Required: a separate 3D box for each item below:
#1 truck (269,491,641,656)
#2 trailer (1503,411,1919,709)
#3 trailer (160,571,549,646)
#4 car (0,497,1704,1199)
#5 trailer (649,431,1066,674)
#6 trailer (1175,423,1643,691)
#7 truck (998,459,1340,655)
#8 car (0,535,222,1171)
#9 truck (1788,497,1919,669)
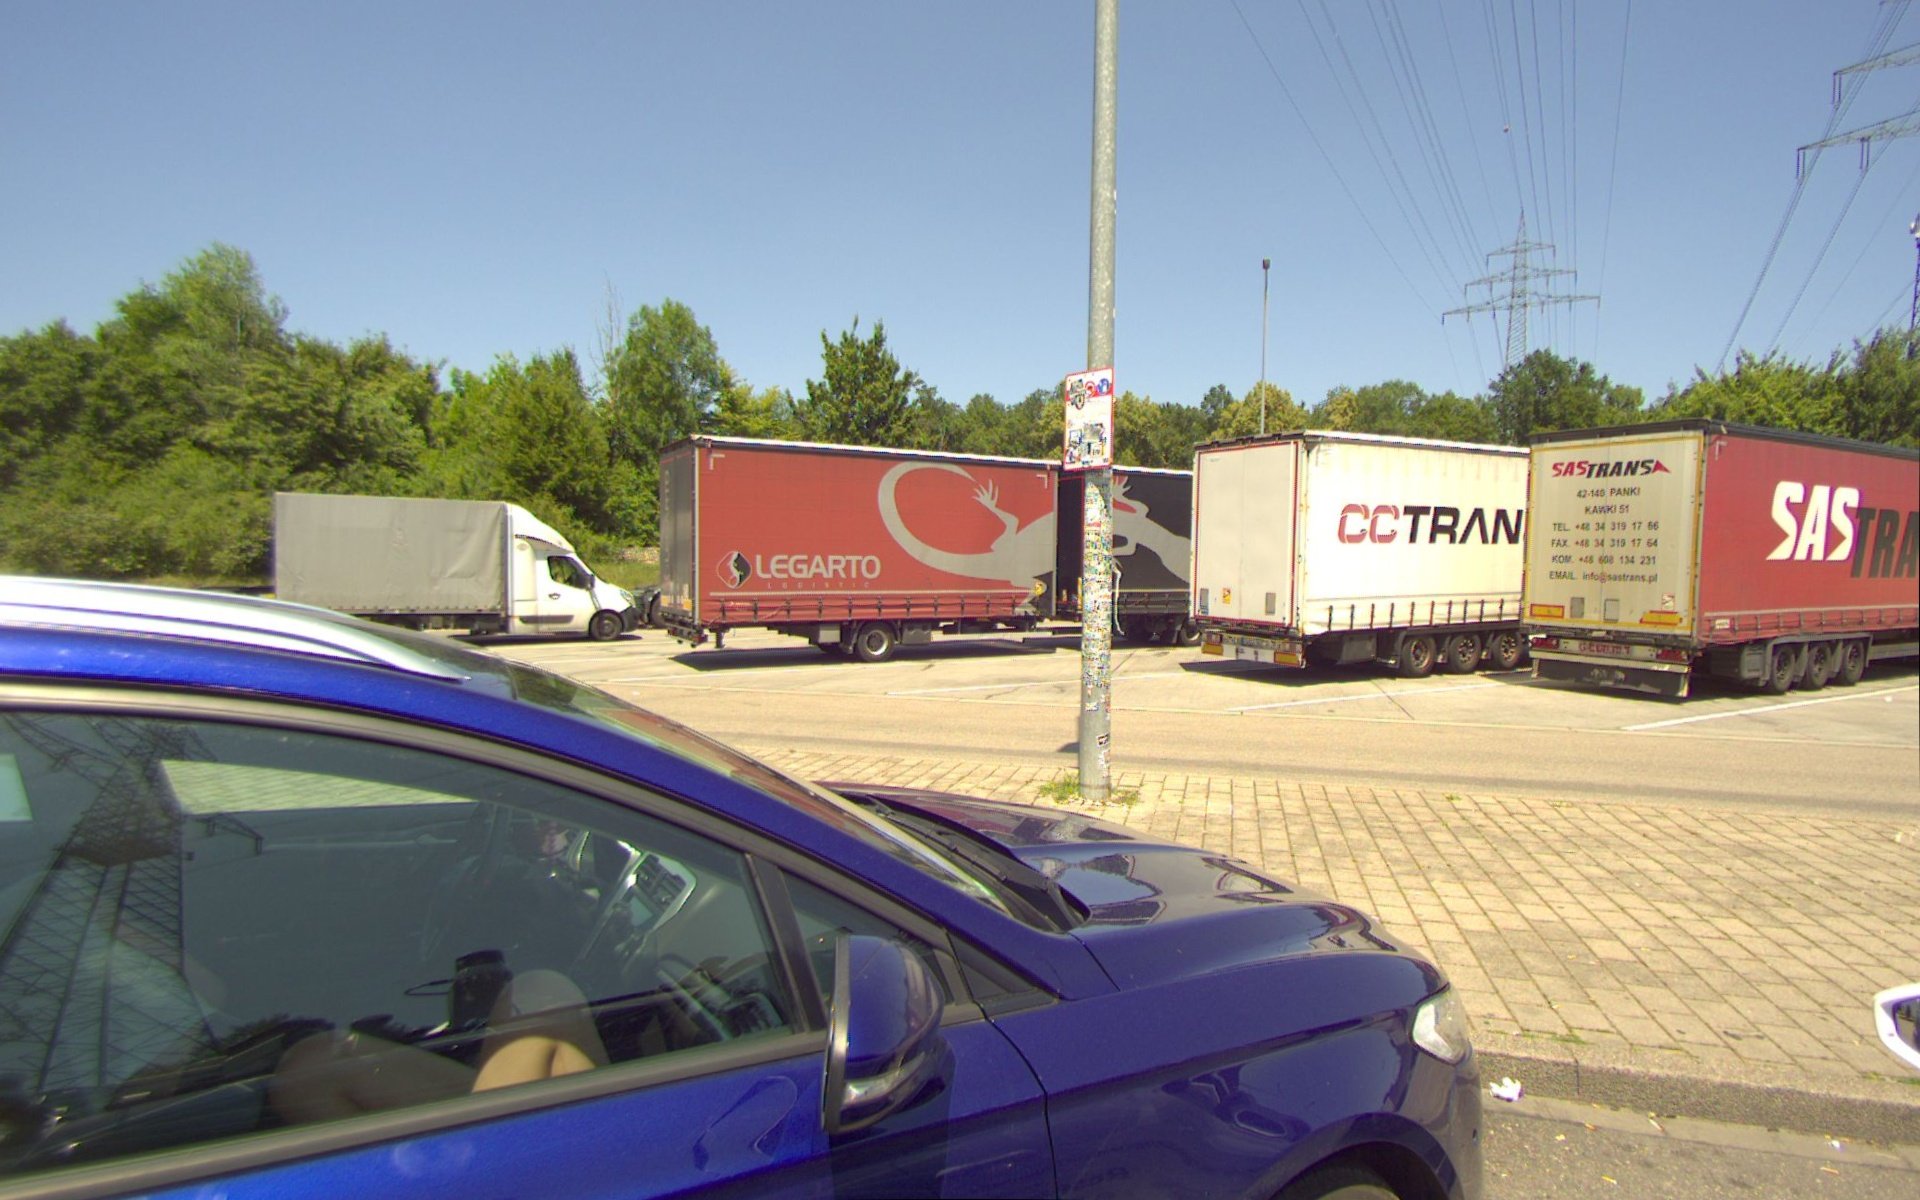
[{"bbox_3d":[-11.255,-0.614,22.980,7.187,3.289,2.694,-1,3,-29],"label":"truck"},{"bbox_3d":[15.450,-0.673,18.598,13.599,4.127,2.807,-1,3,-31],"label":"trailer"},{"bbox_3d":[-14.766,0.114,25.219,8.007,1.648,2.199,-1,3,-30],"label":"trailer"},{"bbox_3d":[-0.987,0.654,1.438,4.522,1.491,1.743,0,2,-32],"label":"car"},{"bbox_3d":[-1.897,-0.897,20.317,8.007,4.127,2.693,-1,3,-30],"label":"trailer"},{"bbox_3d":[8.956,-0.765,19.331,10.264,4.158,2.693,-1,3,-30],"label":"trailer"},{"bbox_3d":[5.255,-0.992,24.526,8.586,4.127,2.693,-1,3,-30],"label":"truck"},{"bbox_3d":[-4.429,0.582,2.075,4.522,1.526,1.743,0,2,-32],"label":"car"},{"bbox_3d":[21.242,-0.400,22.035,5.903,3.409,2.798,-1,3,-30],"label":"truck"}]
